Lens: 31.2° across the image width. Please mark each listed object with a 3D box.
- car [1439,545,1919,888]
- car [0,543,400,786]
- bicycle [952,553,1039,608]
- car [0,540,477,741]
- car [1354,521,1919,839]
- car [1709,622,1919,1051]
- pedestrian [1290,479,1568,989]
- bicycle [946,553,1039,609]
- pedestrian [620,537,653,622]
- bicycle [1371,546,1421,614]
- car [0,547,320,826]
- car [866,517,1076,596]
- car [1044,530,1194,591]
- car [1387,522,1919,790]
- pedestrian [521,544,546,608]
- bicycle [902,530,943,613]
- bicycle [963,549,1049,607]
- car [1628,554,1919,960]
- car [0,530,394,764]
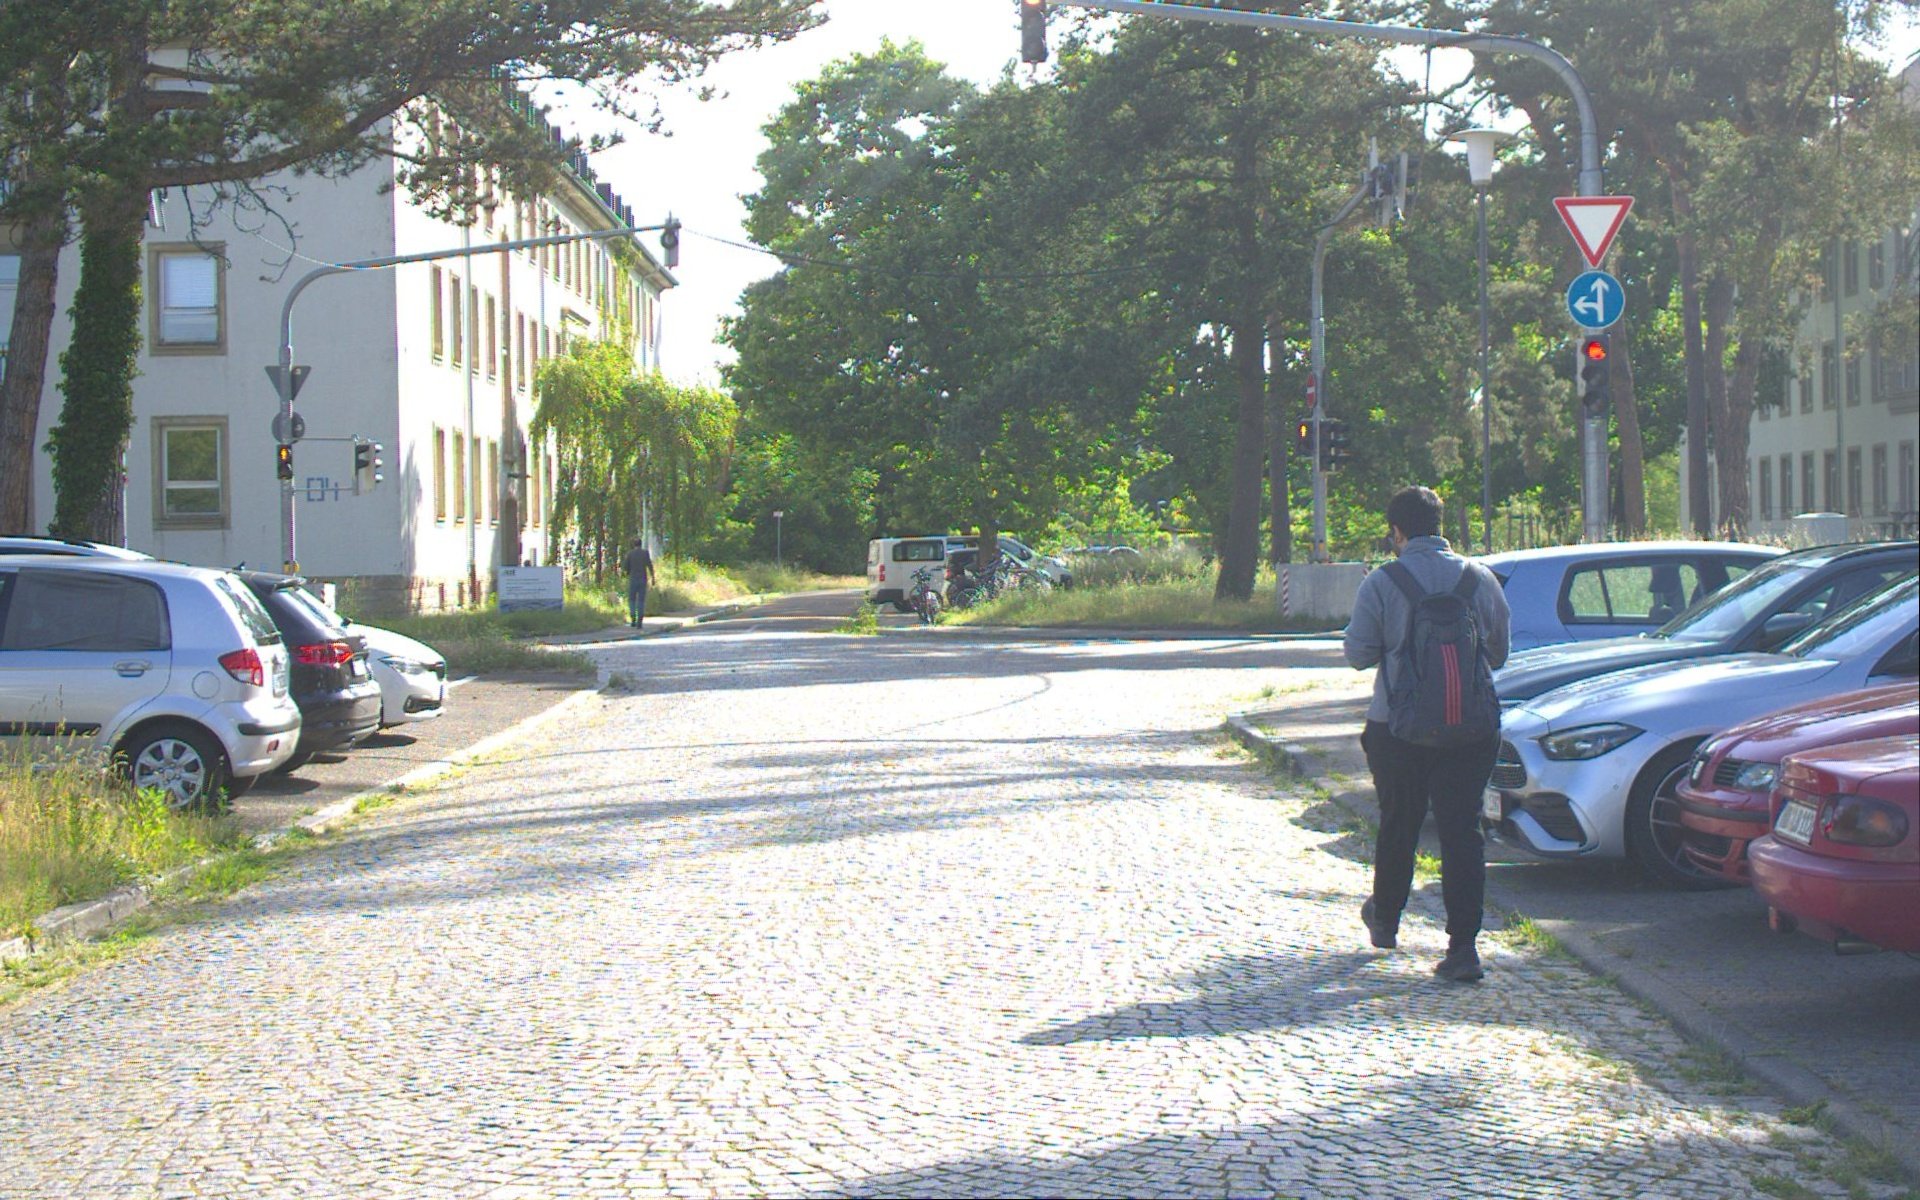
[{"bbox_3d":[4.554,0.450,15.737,4.399,1.384,1.789,-2,1,-1],"label":"car"},{"bbox_3d":[-5.842,0.379,22.855,3.937,1.440,1.691,2,1,-1],"label":"car"},{"bbox_3d":[0.720,-0.403,70.520,1.727,1.108,0.484,-1,1,-4],"label":"bicycle"},{"bbox_3d":[-6.163,0.303,28.374,3.987,1.491,1.772,2,1,4],"label":"car"},{"bbox_3d":[4.596,0.347,18.492,4.619,1.450,1.870,-3,1,-2],"label":"car"},{"bbox_3d":[4.307,0.699,11.046,3.460,1.238,1.536,-1,1,0],"label":"car"},{"bbox_3d":[1.663,0.457,12.309,0.753,1.719,0.828,4,1,-1],"label":"pedestrian"},{"bbox_3d":[0.657,-0.393,69.975,1.834,1.108,0.495,-1,1,-4],"label":"bicycle"},{"bbox_3d":[-6.628,-0.424,70.516,0.607,1.746,0.630,0,1,-1],"label":"pedestrian"},{"bbox_3d":[7.373,-0.350,58.071,0.722,1.111,2.583,-1,1,9],"label":"bicycle"},{"bbox_3d":[-5.753,0.455,20.194,3.685,1.522,1.699,2,1,-3],"label":"car"},{"bbox_3d":[0.270,-1.127,87.874,5.065,1.911,2.001,-1,1,-9],"label":"car"},{"bbox_3d":[4.227,-1.055,91.791,3.743,1.574,1.742,-1,1,-7],"label":"car"},{"bbox_3d":[4.584,0.304,21.029,3.673,1.438,1.665,-2,1,0],"label":"car"},{"bbox_3d":[-10.414,-0.597,83.908,0.606,1.554,0.545,0,1,-7],"label":"pedestrian"},{"bbox_3d":[-0.736,-0.559,66.513,0.753,1.575,2.537,-1,1,-1],"label":"bicycle"},{"bbox_3d":[0.950,-0.454,71.201,1.727,1.160,0.561,-1,1,-4],"label":"bicycle"},{"bbox_3d":[4.786,0.524,13.433,3.979,1.443,1.656,-2,1,-1],"label":"car"},{"bbox_3d":[-6.298,0.313,25.597,3.879,1.610,1.661,1,1,-1],"label":"car"}]
